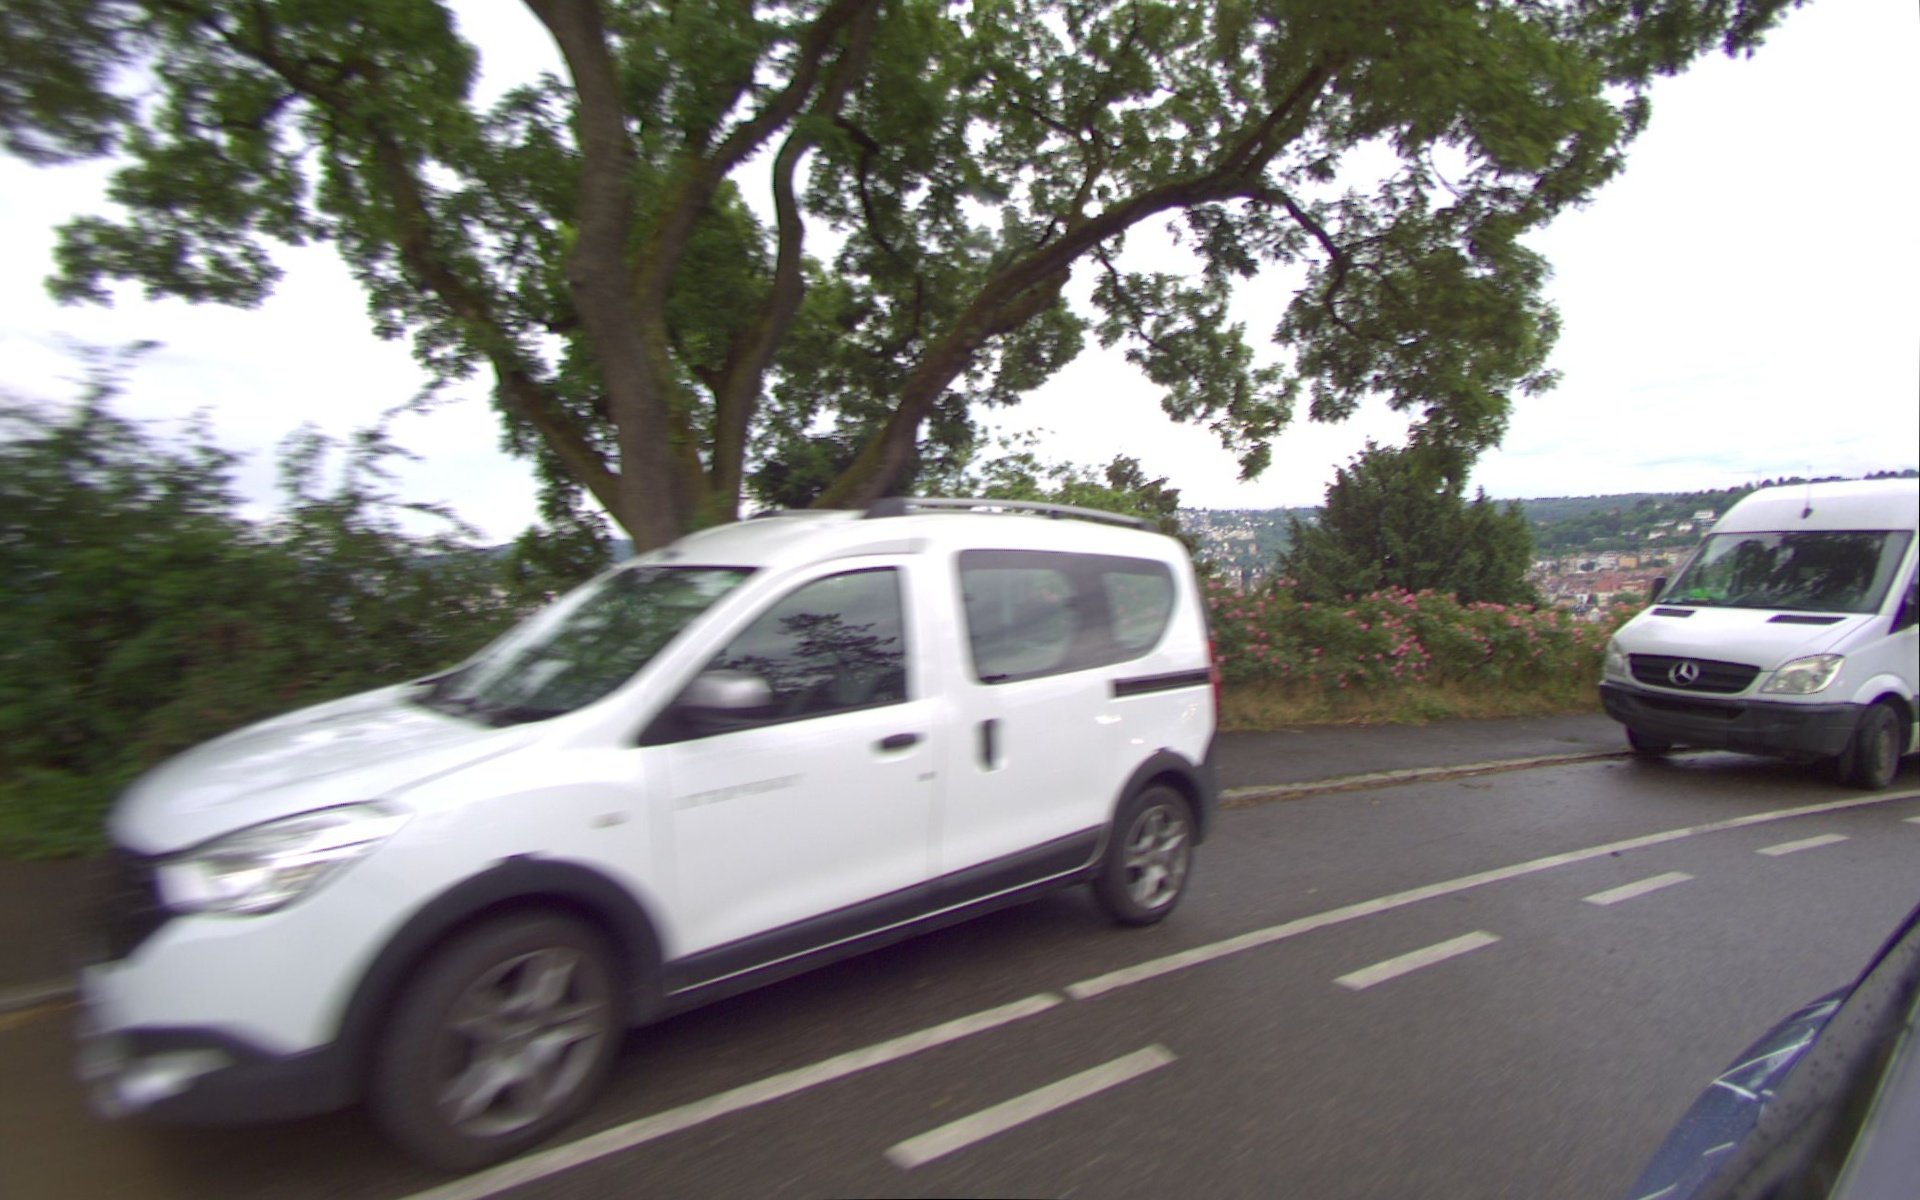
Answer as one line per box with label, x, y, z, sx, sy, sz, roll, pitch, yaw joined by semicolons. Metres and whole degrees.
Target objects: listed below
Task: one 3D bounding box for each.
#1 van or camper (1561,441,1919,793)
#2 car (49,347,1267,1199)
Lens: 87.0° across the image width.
van or camper;8.718;0.125;9.505;5.763;2.612;2.078;1;2;-21
car;-0.715;0.397;4.053;4.349;1.843;1.749;0;3;-43
